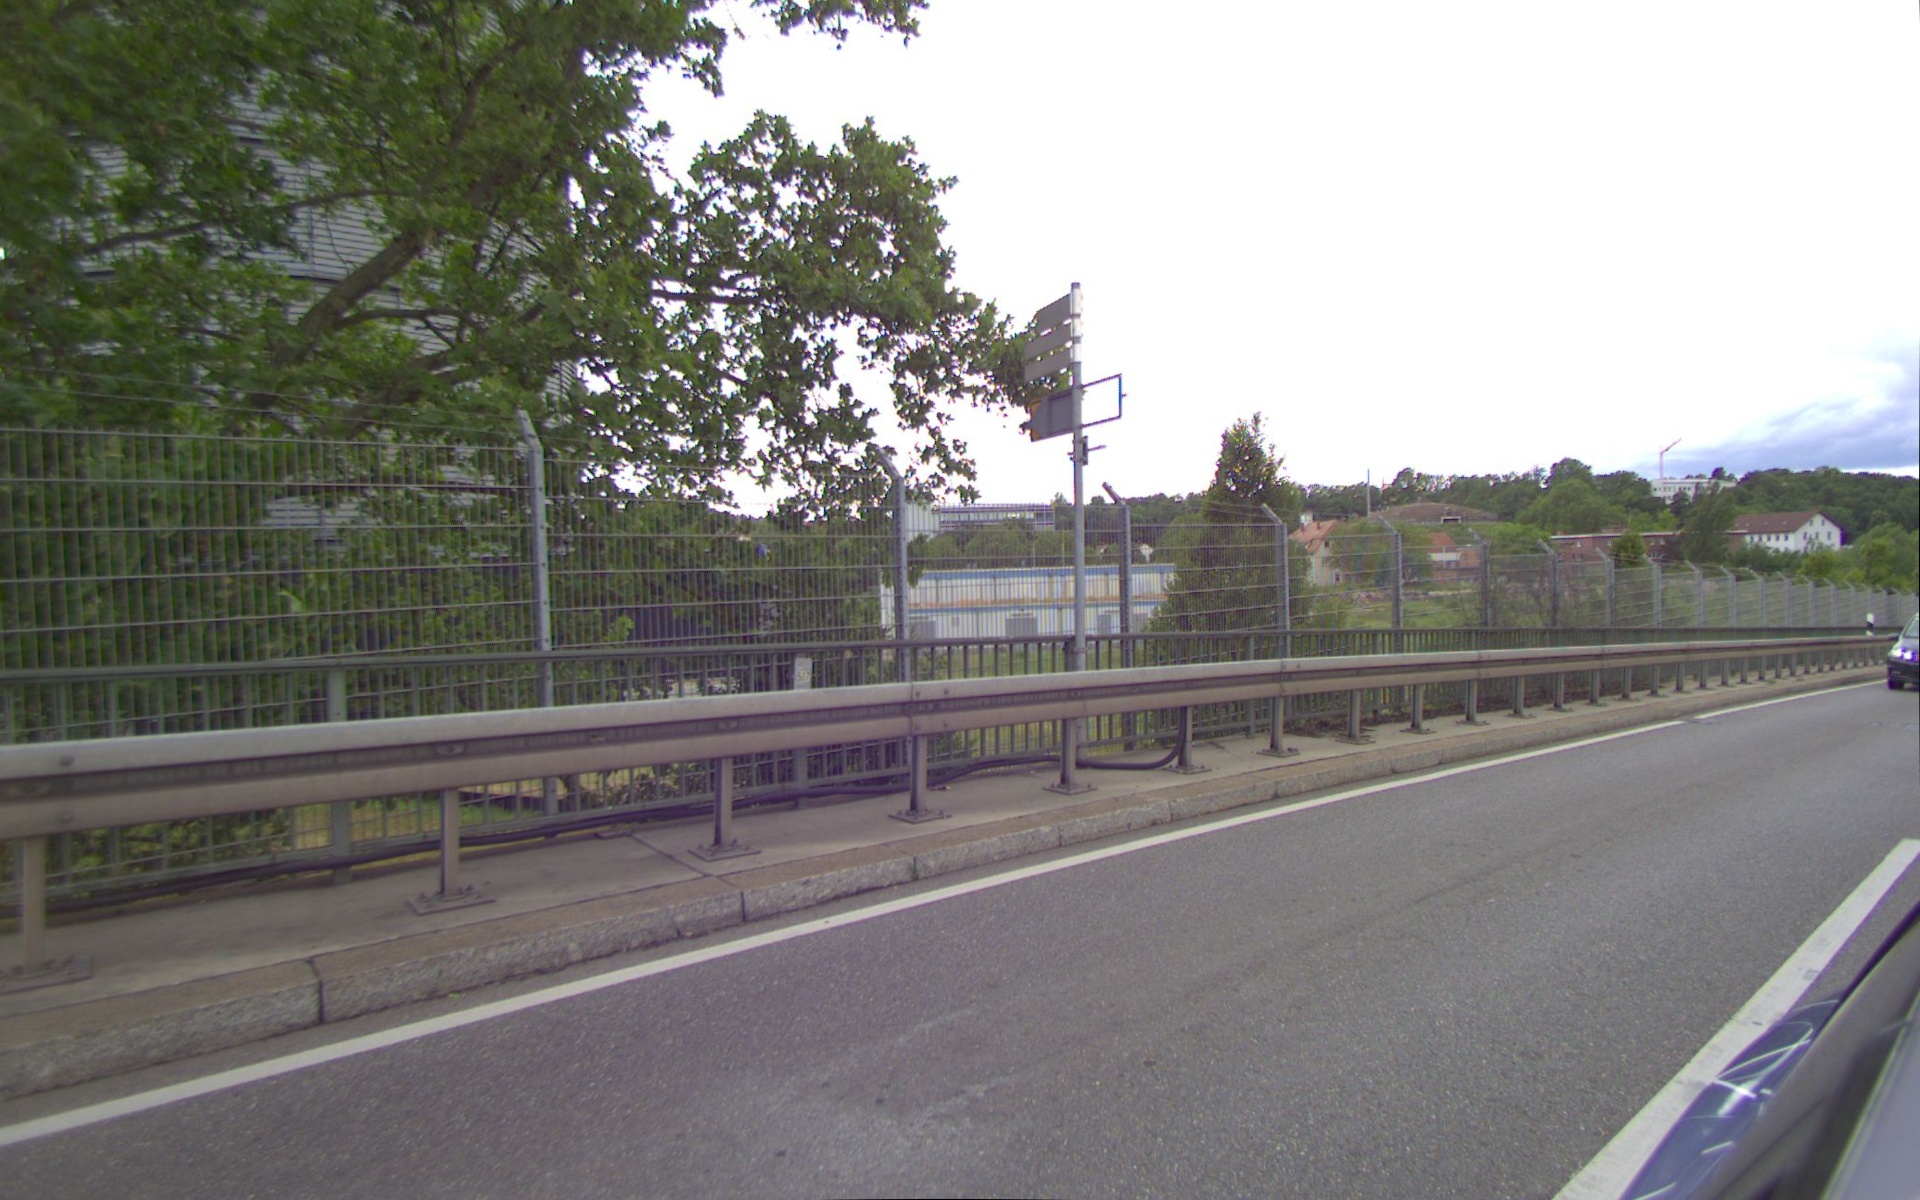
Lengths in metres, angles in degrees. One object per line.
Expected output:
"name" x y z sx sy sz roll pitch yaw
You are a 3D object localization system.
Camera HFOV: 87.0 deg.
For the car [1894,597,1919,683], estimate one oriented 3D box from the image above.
"car" 20.604 0.807 20.559 4.074 1.674 1.800 1 -1 -38
